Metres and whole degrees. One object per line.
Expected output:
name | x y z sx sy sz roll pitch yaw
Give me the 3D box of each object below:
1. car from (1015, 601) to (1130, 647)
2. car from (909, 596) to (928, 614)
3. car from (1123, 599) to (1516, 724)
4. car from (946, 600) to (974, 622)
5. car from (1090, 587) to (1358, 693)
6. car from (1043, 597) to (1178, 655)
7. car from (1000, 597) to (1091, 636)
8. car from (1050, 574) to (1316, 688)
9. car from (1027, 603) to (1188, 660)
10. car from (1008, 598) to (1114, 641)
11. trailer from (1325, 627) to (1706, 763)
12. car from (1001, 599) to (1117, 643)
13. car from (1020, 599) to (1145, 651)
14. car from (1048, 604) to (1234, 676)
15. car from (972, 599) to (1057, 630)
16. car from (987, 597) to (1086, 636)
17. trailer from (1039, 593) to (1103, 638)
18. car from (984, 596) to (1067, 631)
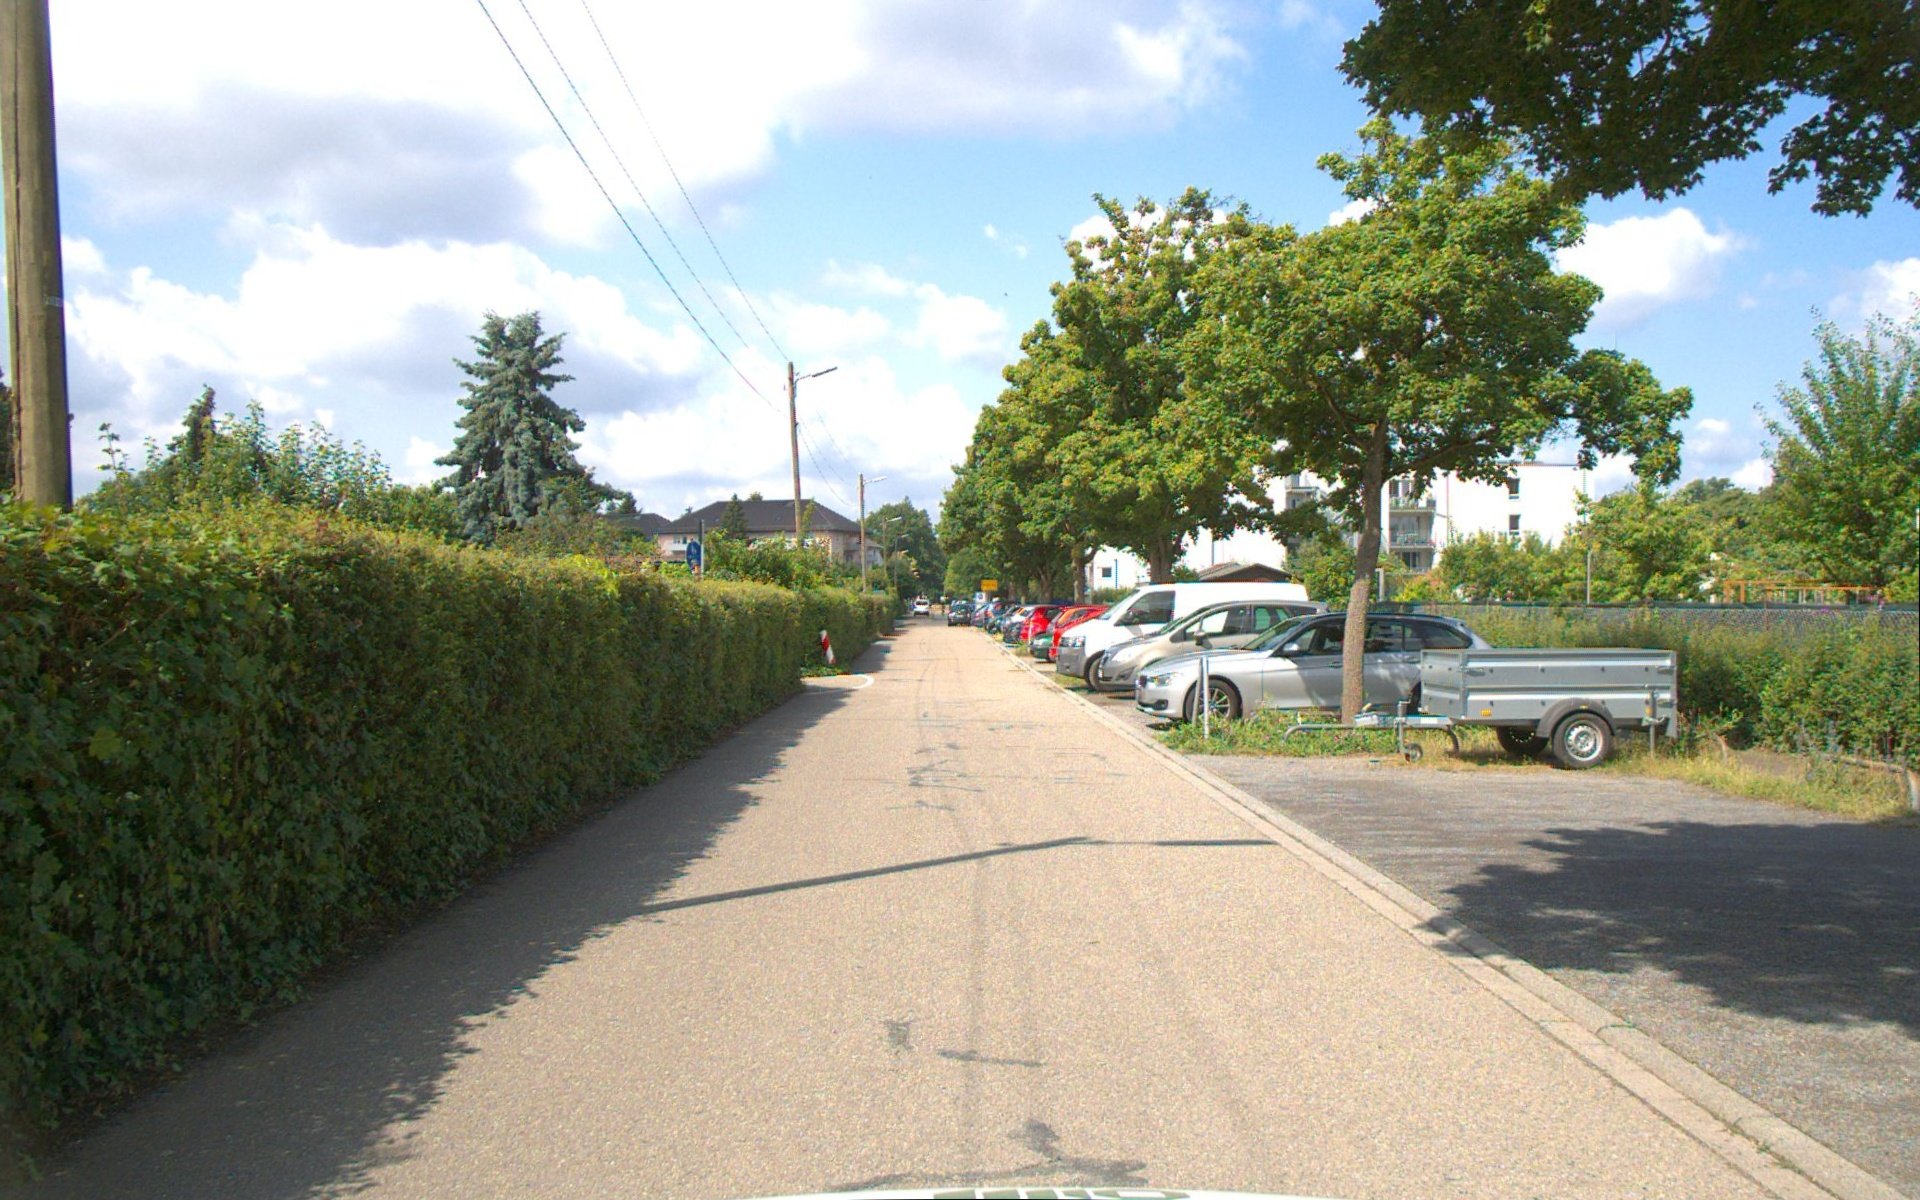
car | 3.796 0.821 56.466 3.829 1.448 1.958 1 -1 2
car | -4.537 0.574 183.207 1.863 1.846 4.001 1 0 2
car | 4.437 0.734 20.866 4.488 1.491 1.998 0 0 -4
car | -0.006 0.770 114.889 1.628 1.532 4.002 1 0 4
car | 4.356 0.650 27.822 4.157 1.620 2.000 -1 0 -1
car | 4.350 0.747 48.162 3.688 1.601 1.869 1 -1 -2
car | 3.617 0.710 70.320 3.650 1.567 1.848 1 -1 -4
car | 4.045 0.545 30.561 4.541 1.919 2.110 -1 0 -3
car | 4.012 0.864 45.431 4.155 1.453 1.906 1 -1 -5
car | 3.840 0.724 63.242 3.980 1.538 1.958 1 -1 2
trailer | 5.312 0.888 16.149 3.037 1.162 2.000 1 -1 -1
car | 3.545 0.770 59.630 3.984 1.481 1.869 1 -1 -3
car | 3.906 0.790 52.954 3.904 1.546 1.855 1 -1 2
car | 4.139 0.910 38.284 4.097 1.530 1.878 1 -1 0
car | 2.949 0.779 90.132 4.457 1.606 1.808 1 -1 -2
car | 3.328 0.733 72.897 4.215 1.622 1.999 1 -1 -2
trailer | 4.523 0.626 67.450 2.402 1.750 1.517 1 0 -5
car | 3.277 0.690 83.490 4.070 1.666 1.878 -1 -1 -1
